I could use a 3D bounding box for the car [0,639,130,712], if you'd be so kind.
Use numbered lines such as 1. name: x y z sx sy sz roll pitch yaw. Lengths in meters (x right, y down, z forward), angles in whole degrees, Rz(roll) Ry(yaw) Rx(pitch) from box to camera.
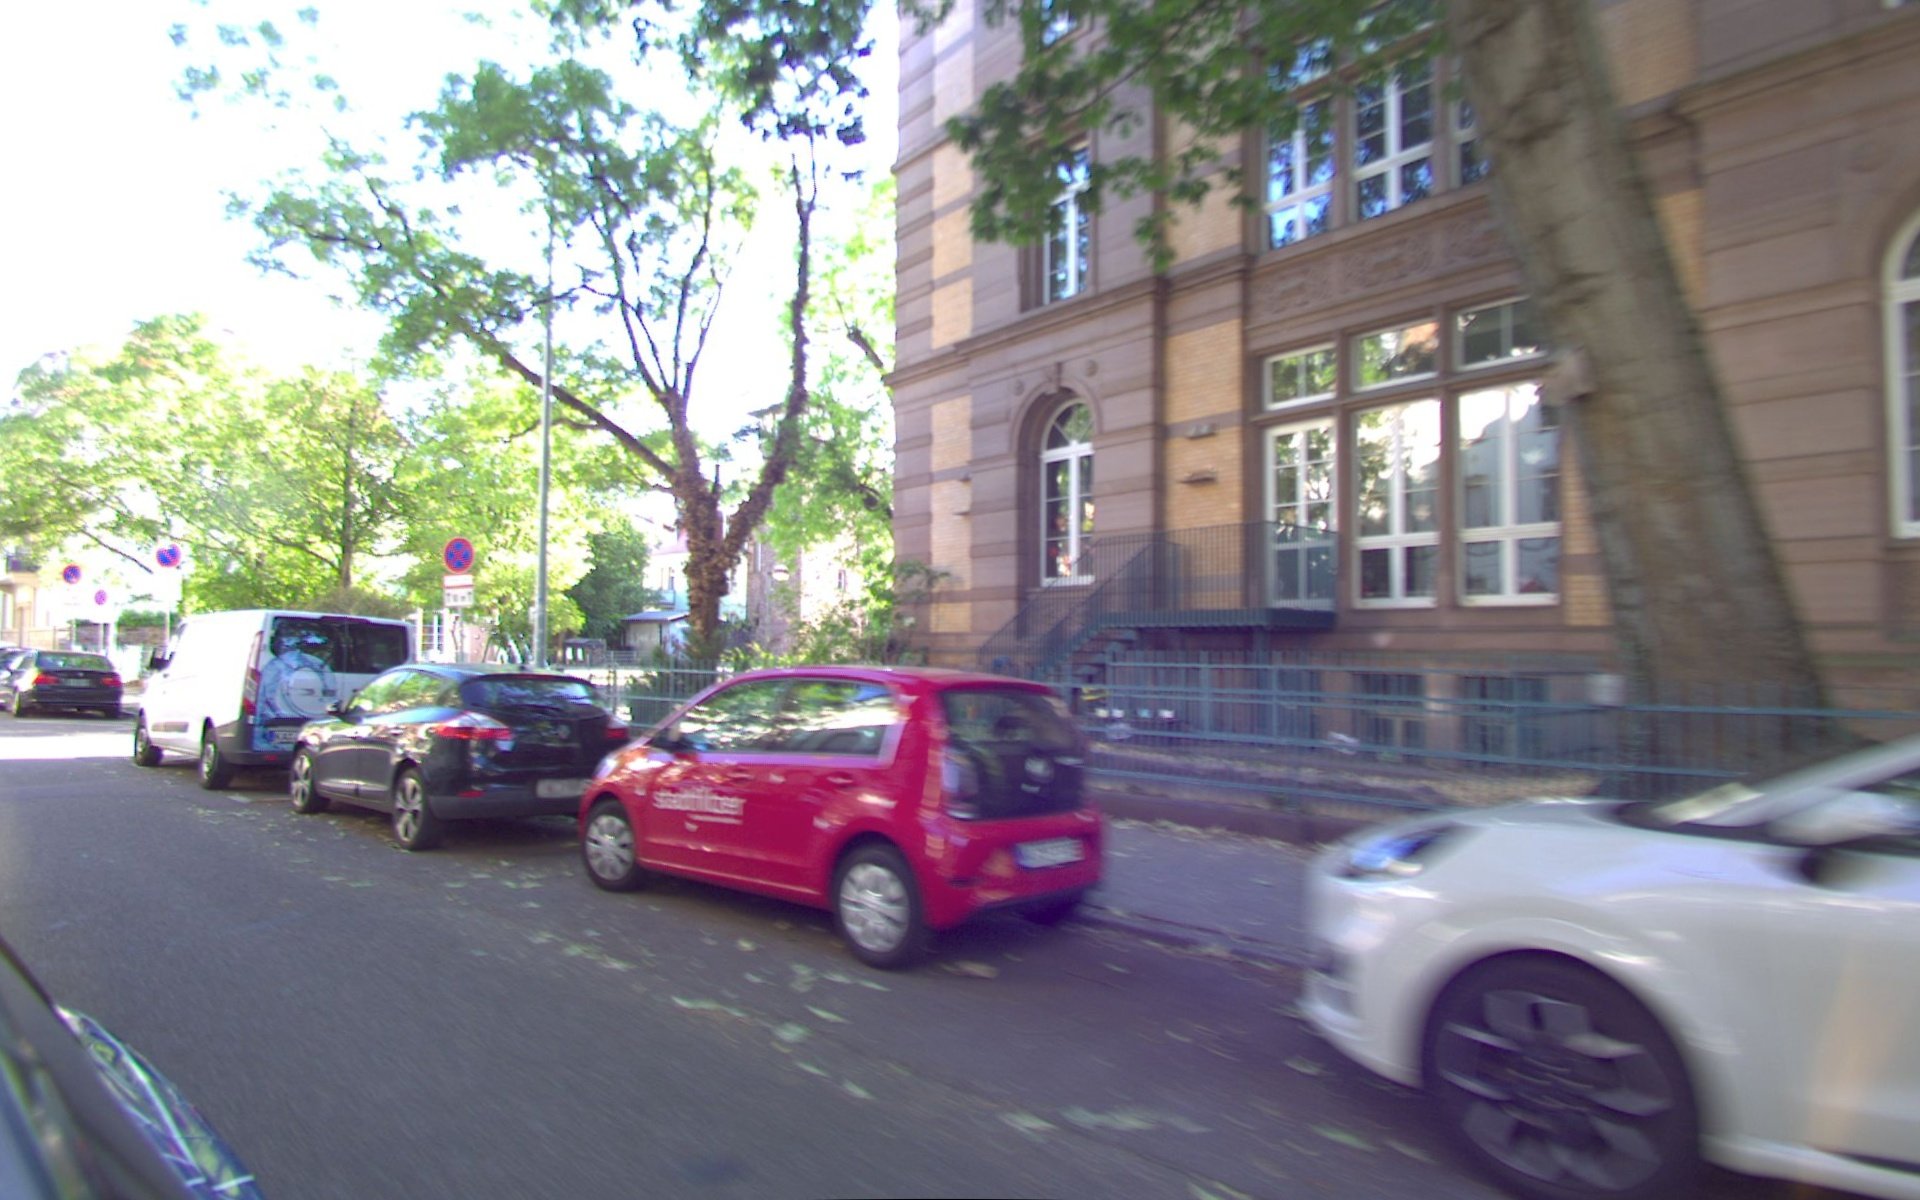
1. car: -19.960 1.612 22.209 4.775 1.406 1.696 -2 -7 40

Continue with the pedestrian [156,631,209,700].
1. pedestrian: -18.114 1.510 23.577 0.529 1.589 0.872 -2 -3 41

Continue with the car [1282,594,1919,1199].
1. car: 3.197 0.849 2.637 4.128 1.566 1.807 -1 -7 38

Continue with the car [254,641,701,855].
1. car: -4.611 1.166 9.343 4.603 1.469 1.980 -2 -5 41

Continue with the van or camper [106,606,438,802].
1. van or camper: -8.878 1.195 12.836 5.456 1.995 1.902 -1 -6 40

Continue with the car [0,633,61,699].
1. car: -24.813 1.677 26.219 4.149 1.585 1.658 -2 -7 41

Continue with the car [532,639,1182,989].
1. car: -0.836 1.025 6.224 4.024 1.471 1.585 -2 -6 40

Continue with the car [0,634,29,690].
1. car: -29.488 1.806 30.292 4.465 1.603 1.762 -2 -5 40
